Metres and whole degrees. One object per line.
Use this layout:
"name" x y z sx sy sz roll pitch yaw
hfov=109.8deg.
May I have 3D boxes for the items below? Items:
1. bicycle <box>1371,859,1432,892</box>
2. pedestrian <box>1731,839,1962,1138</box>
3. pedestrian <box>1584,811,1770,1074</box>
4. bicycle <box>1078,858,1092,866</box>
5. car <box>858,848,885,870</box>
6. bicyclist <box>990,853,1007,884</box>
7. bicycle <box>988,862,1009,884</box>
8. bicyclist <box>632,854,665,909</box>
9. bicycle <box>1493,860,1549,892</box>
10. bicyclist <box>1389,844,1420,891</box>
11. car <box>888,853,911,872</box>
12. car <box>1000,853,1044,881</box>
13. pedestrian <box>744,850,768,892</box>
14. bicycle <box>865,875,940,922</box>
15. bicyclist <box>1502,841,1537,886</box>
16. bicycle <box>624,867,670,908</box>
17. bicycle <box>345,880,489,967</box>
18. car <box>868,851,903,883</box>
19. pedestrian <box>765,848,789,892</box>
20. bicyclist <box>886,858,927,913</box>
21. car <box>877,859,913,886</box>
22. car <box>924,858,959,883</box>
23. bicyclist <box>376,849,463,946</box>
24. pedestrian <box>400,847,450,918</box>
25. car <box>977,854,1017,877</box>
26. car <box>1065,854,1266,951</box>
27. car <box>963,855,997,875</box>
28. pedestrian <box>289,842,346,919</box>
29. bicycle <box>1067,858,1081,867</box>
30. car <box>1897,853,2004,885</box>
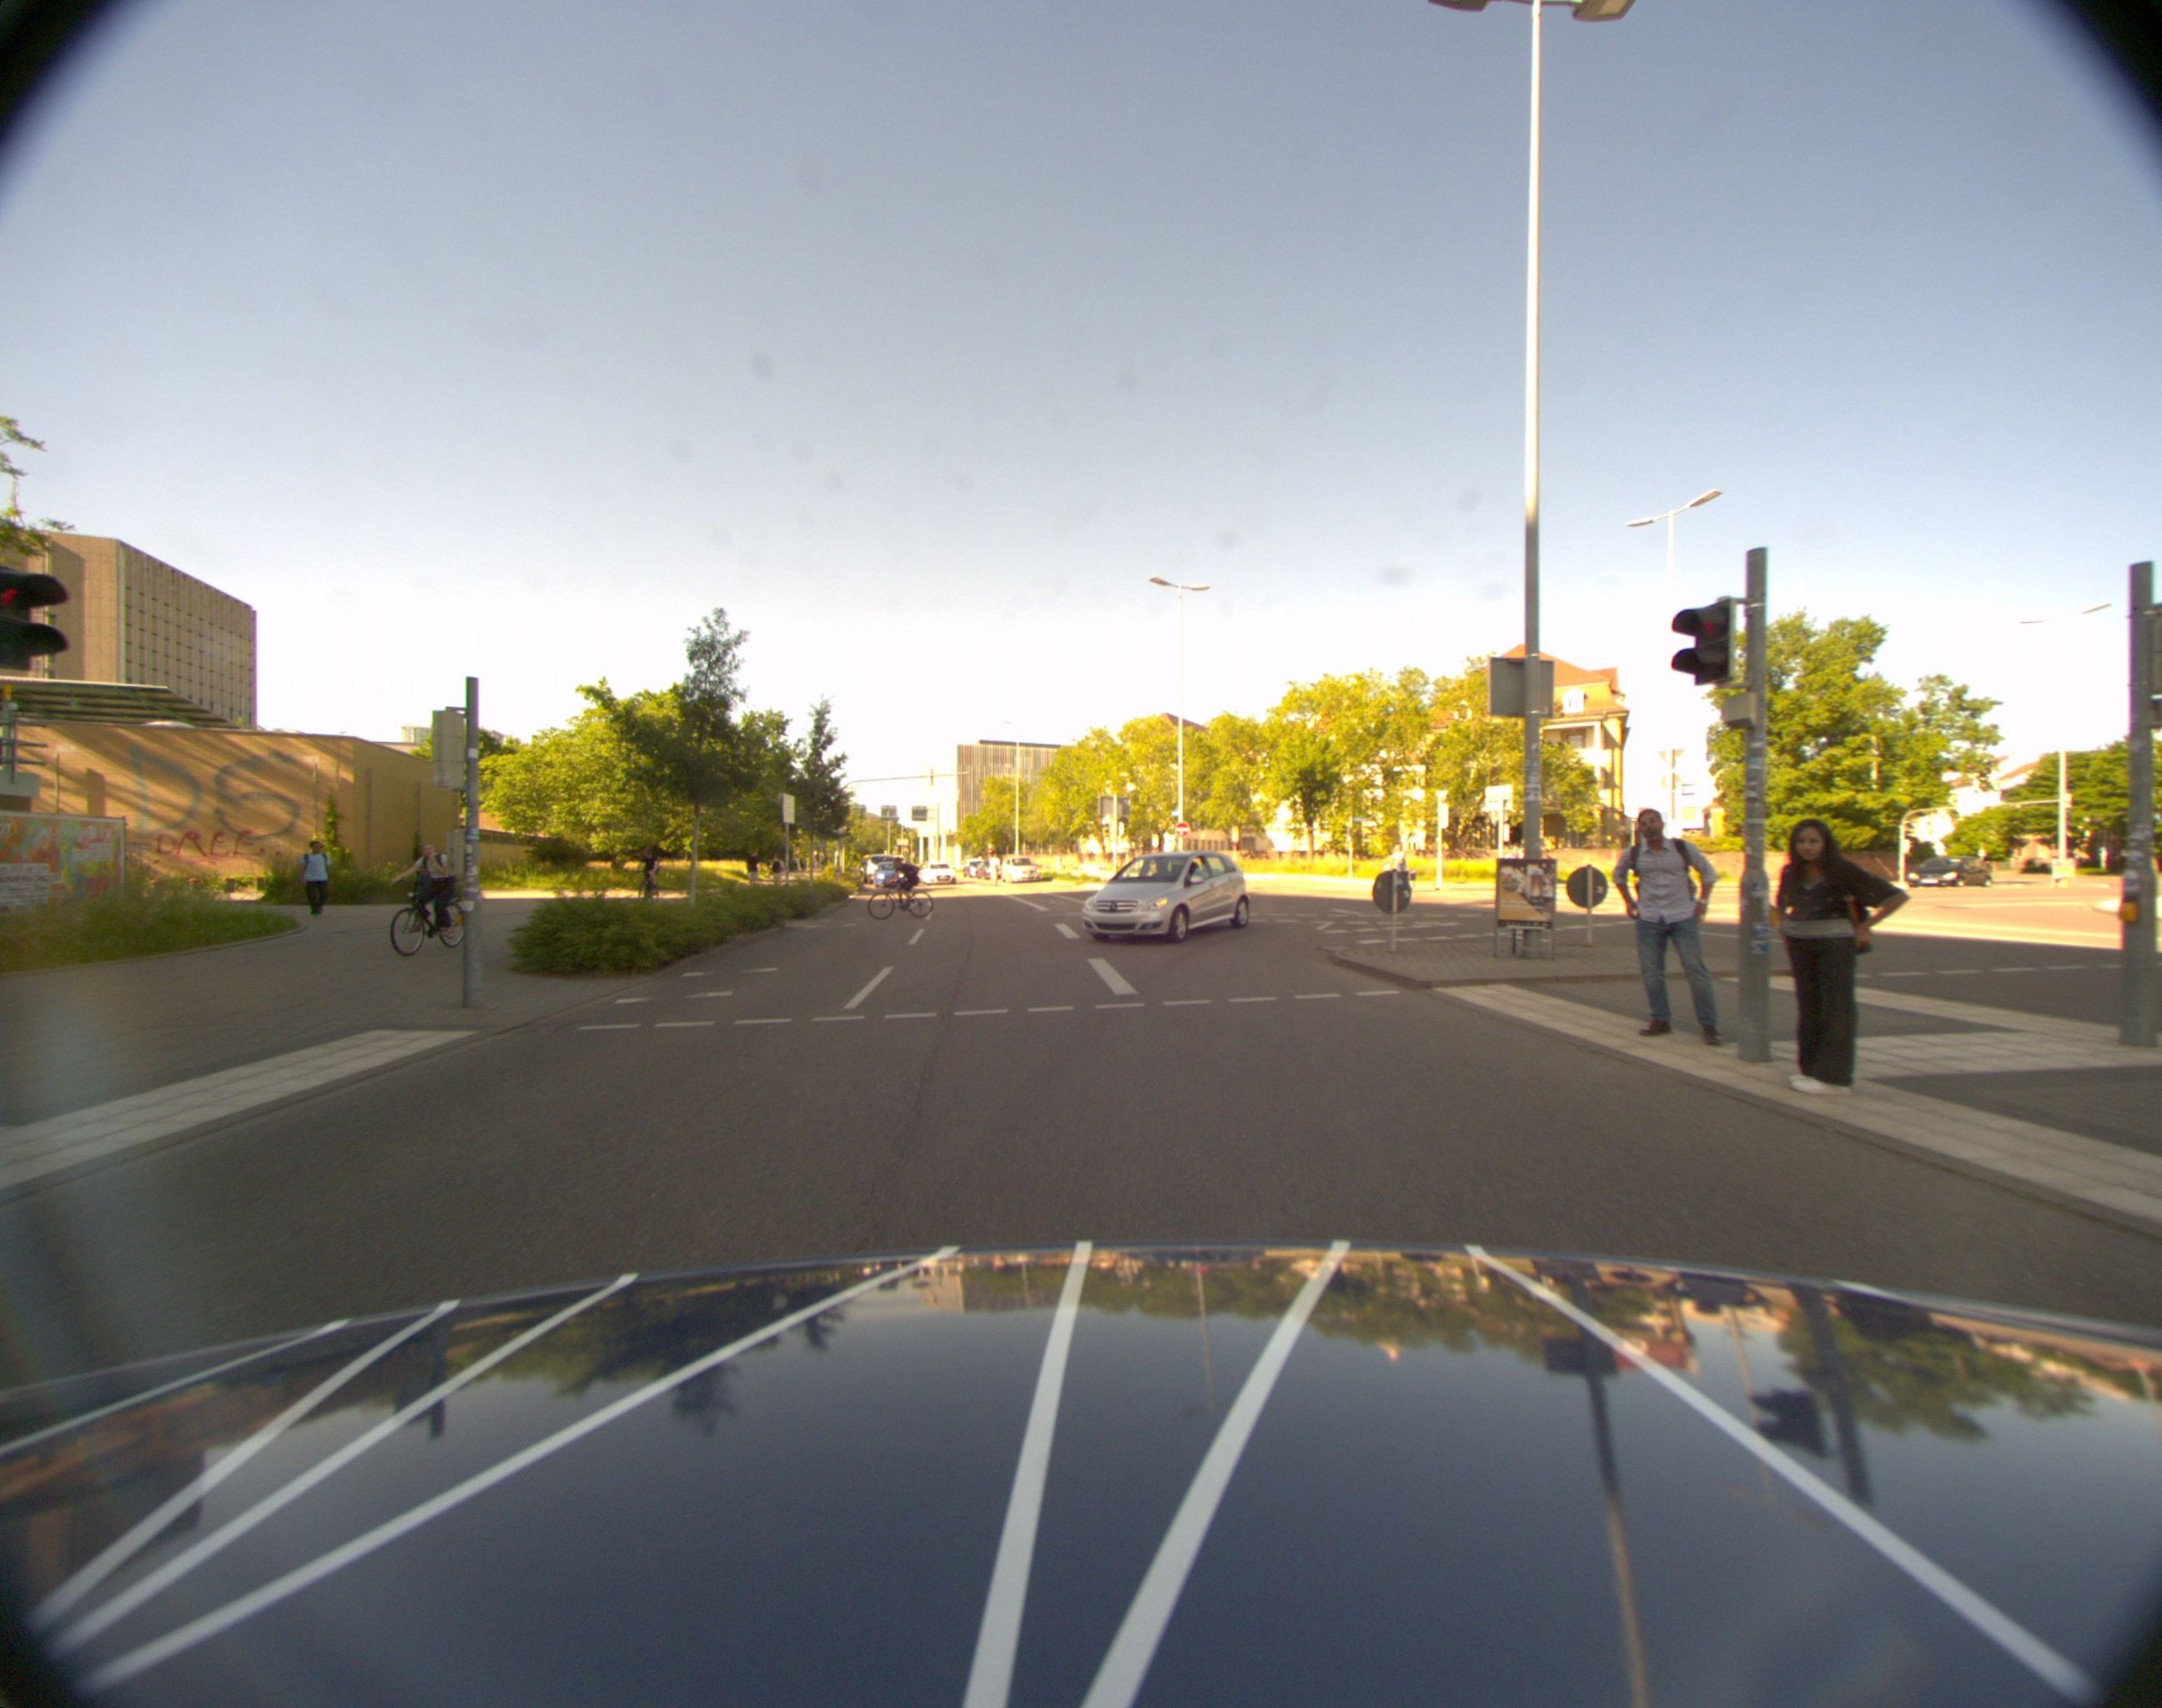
"bicycle" 11.379 0.748 26.988 1.968 1.158 0.642 0 -1 -10
"pedestrian" 4.455 0.721 4.487 0.681 1.603 0.720 0 1 13
"pedestrian" 4.584 0.609 5.853 1.097 1.822 0.754 -2 1 -30
"bicycle" 0.508 1.082 100.581 0.797 1.069 2.081 0 -3 -36
"car" -20.081 0.487 72.744 1.941 1.941 4.749 -2 0 -21
"bicyclist" -4.596 0.786 42.373 0.747 1.675 0.976 0 1 -19
"bicycle" -4.631 1.057 42.470 0.749 1.158 1.867 0 1 -19
"bicyclist" -12.978 0.816 22.809 0.643 1.635 0.776 0 0 -12
"bicycle" 16.460 0.803 28.425 1.970 1.158 0.778 0 -1 -22
"bicyclist" 11.478 0.479 26.998 0.777 1.653 0.643 -1 0 -11
"car" -19.380 0.904 80.989 1.941 1.941 4.525 -2 0 -18
"car" -3.724 0.773 47.175 1.791 1.615 4.309 -2 0 -17
"pedestrian" -13.826 0.720 32.298 0.731 1.771 0.736 -1 -2 -4
"bicycle" -4.782 1.172 20.366 1.872 1.158 0.642 -2 0 -22
"bicyclist" 16.384 0.341 28.389 0.777 1.653 0.784 -1 0 -22
"bicycle" -12.957 0.974 22.722 0.643 1.158 1.868 0 0 -12
"bicycle" -10.173 1.025 11.748 0.643 1.158 1.869 2 0 -3
"car" -13.036 0.834 50.555 1.940 1.941 4.750 -2 0 -17
"pedestrian" -12.882 0.687 32.215 0.731 1.805 0.736 -1 -2 -4
"bicyclist" -4.695 0.838 20.406 0.954 1.436 0.642 -1 0 -22
"car" -10.859 1.058 44.194 1.706 1.433 3.994 -2 0 -17
"car" -8.760 1.019 47.461 2.001 1.460 3.995 0 0 -13
"bicyclist" -10.161 0.649 11.701 0.643 1.436 0.776 2 0 -3
"pedestrian" -15.501 0.670 17.945 0.734 1.633 0.679 -2 -2 30
"car" -6.212 0.846 55.780 1.985 1.545 4.717 -2 0 -17
"car" 1.812 0.823 14.729 1.767 1.584 4.649 -1 -1 36
"car" -8.465 0.890 63.065 1.985 1.545 4.717 -2 0 -17
"pedestrian" -16.593 0.584 16.518 0.734 1.633 0.679 -2 -2 29
"bicycle" -0.921 1.177 102.431 0.797 1.069 2.081 0 -3 -36
"car" 41.491 0.718 36.276 4.302 1.464 1.997 0 -2 -22
